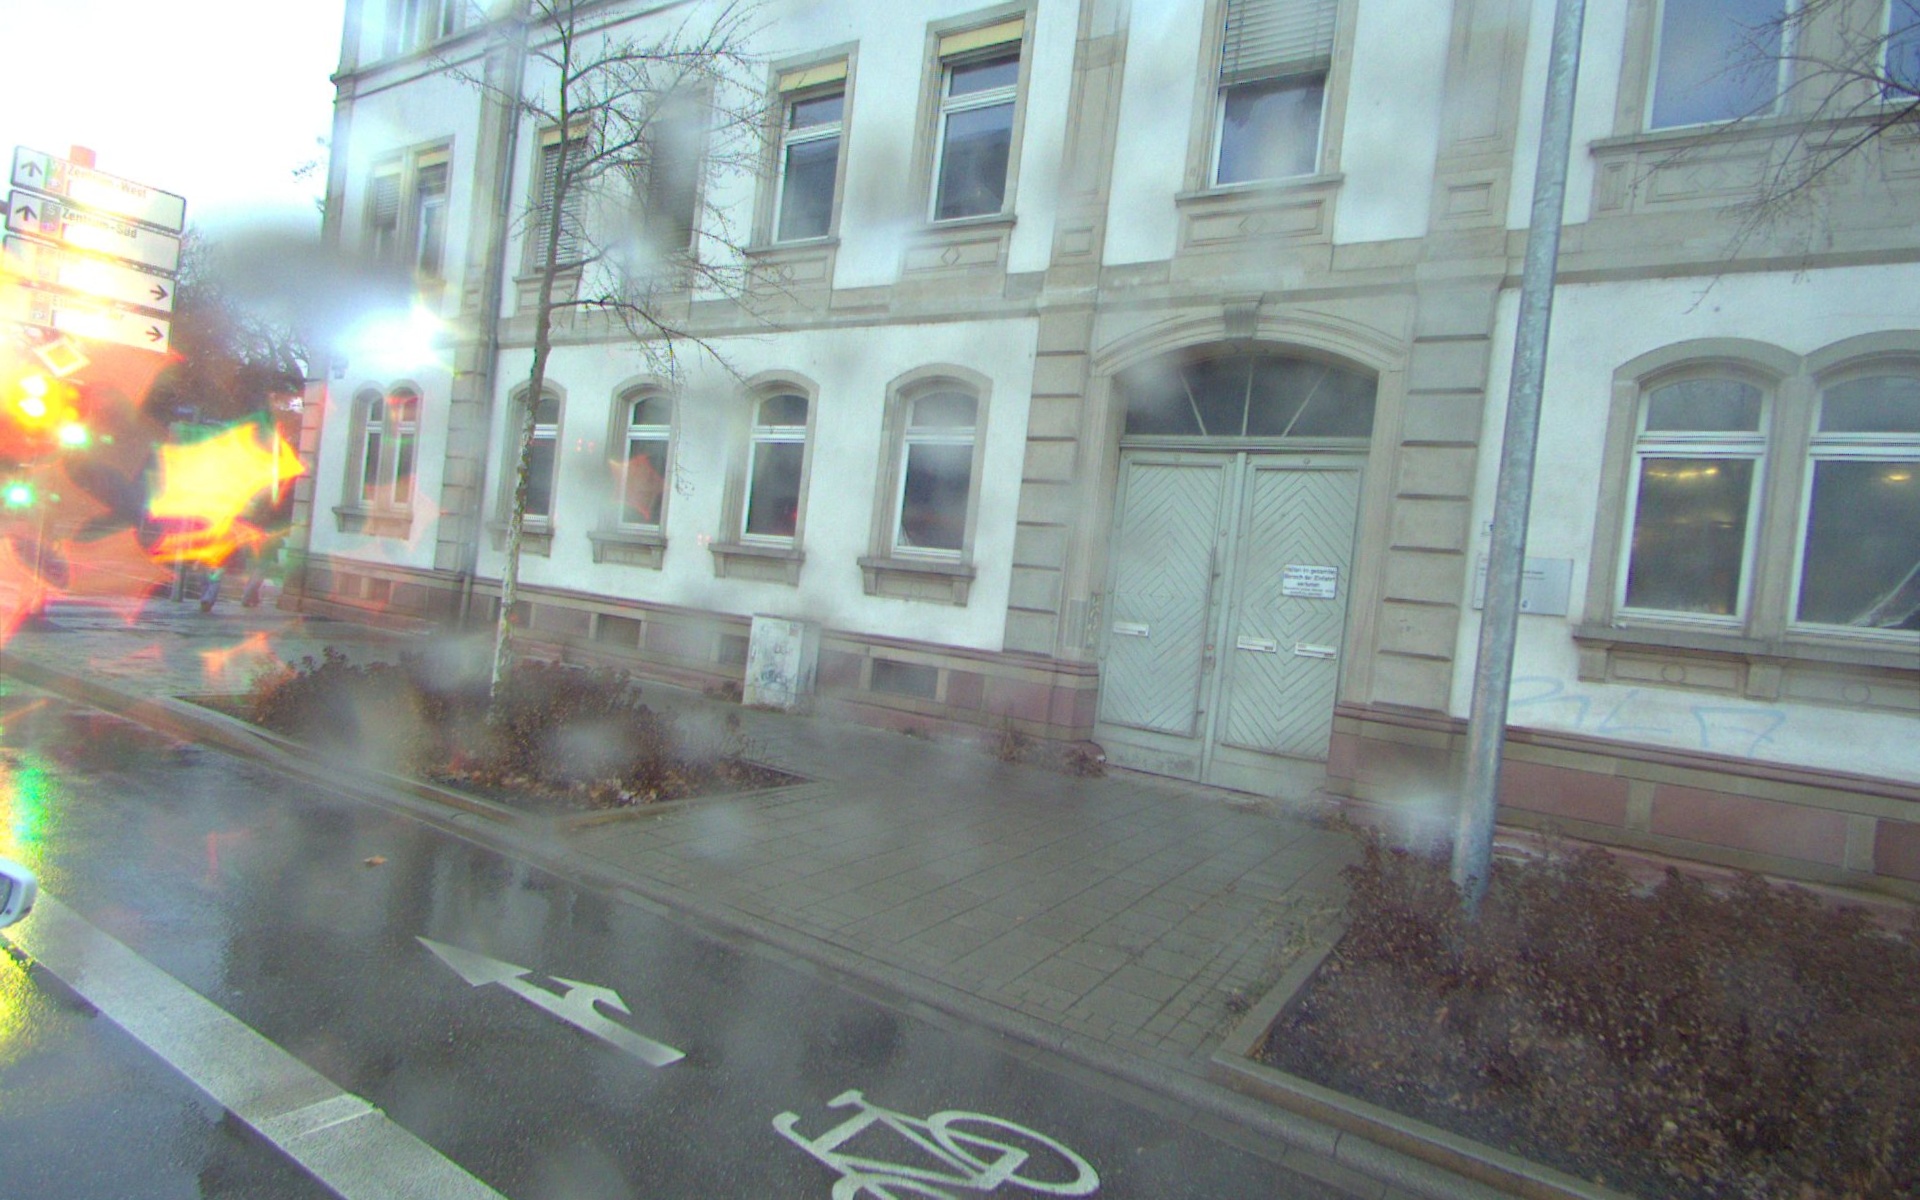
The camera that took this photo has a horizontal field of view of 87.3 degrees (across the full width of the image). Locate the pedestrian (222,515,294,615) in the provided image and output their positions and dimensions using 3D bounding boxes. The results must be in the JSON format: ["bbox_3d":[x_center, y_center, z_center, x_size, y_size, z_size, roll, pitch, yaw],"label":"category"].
[{"bbox_3d":[-12.664,-0.619,18.177,0.775,1.651,1.004,8,-1,-29],"label":"pedestrian"}]

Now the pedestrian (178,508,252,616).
[{"bbox_3d":[-12.058,-0.613,16.272,0.778,1.597,1.000,8,-1,-39],"label":"pedestrian"}]
